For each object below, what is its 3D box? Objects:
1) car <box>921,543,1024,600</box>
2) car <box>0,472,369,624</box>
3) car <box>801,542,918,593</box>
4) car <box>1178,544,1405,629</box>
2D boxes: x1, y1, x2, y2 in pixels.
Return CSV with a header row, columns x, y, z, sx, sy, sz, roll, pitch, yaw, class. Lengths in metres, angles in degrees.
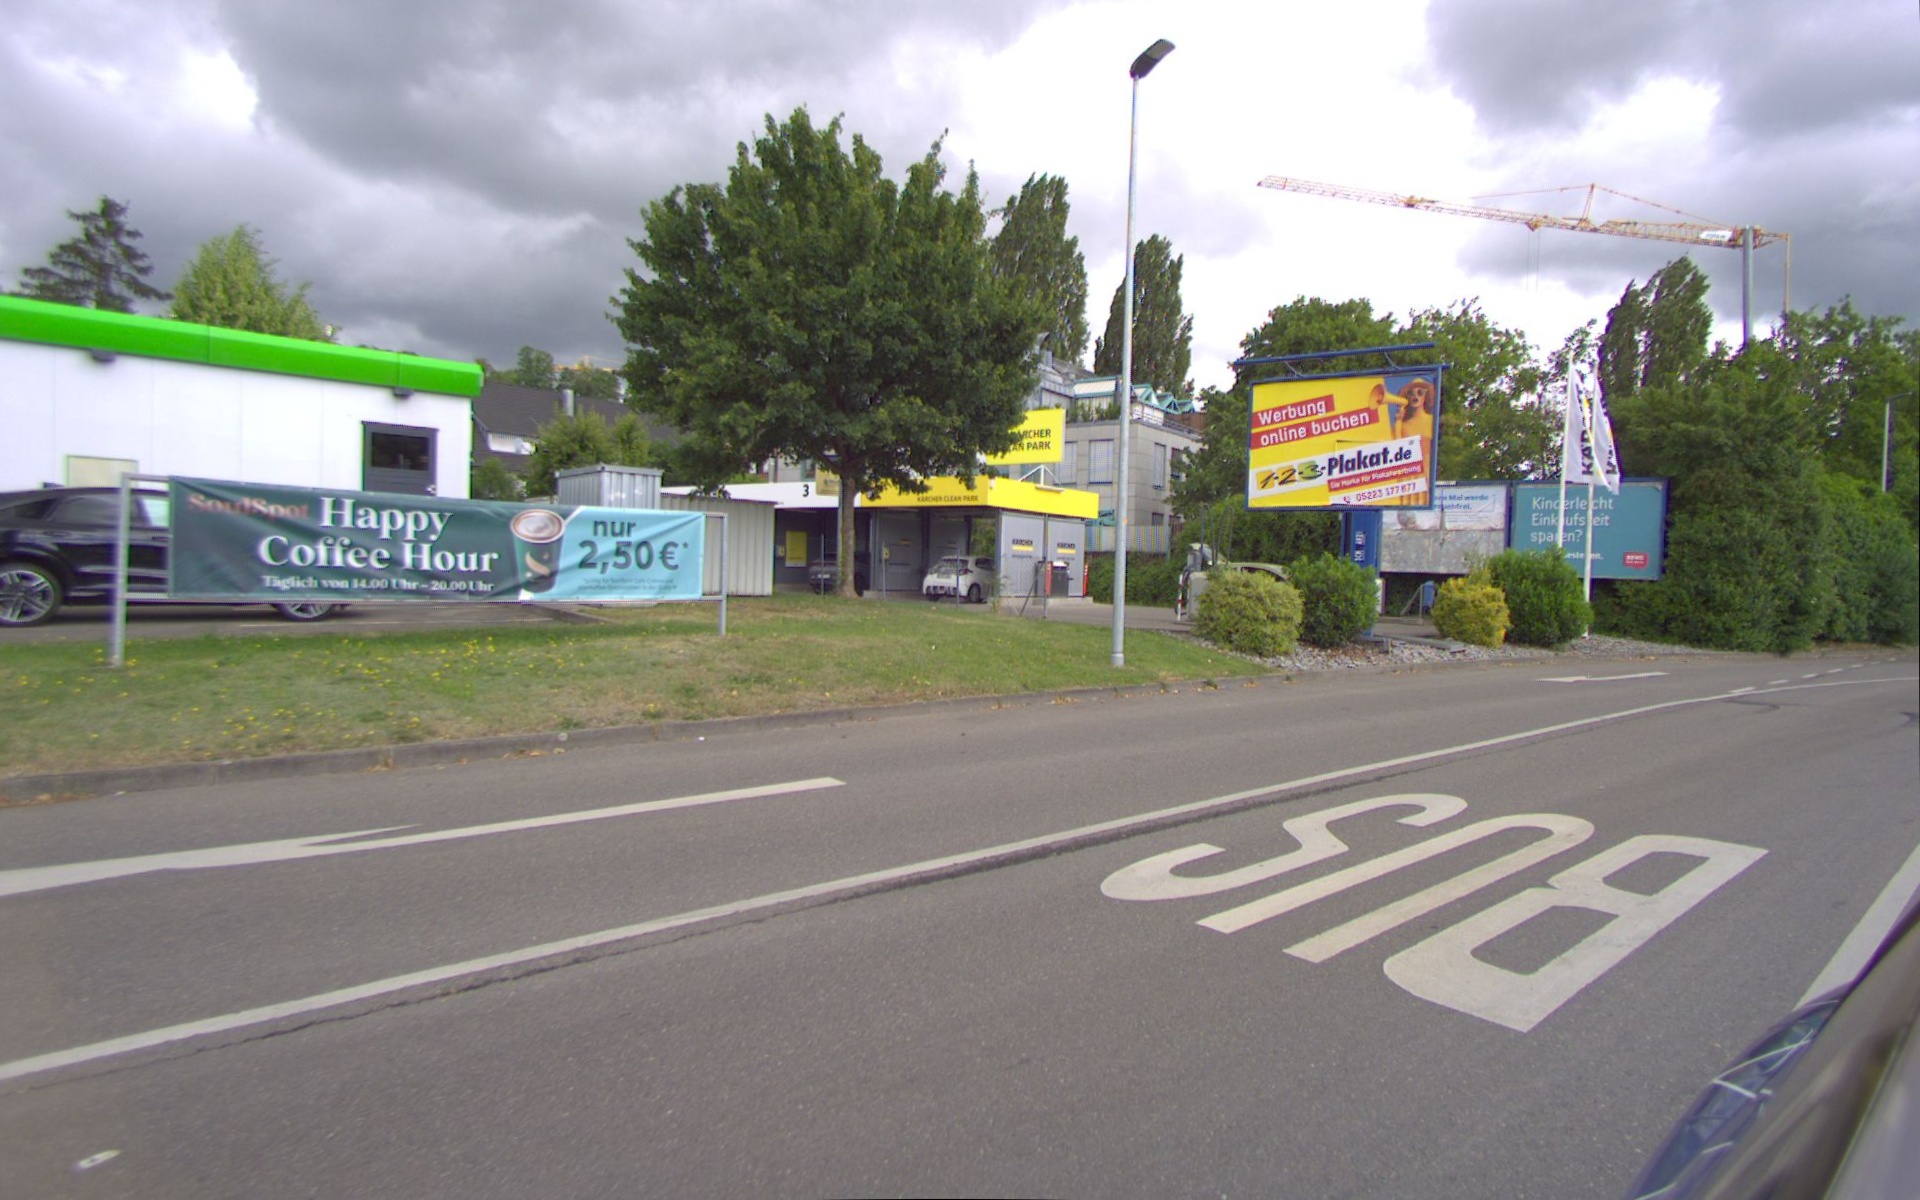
x,y,z,sx,sy,sz,roll,pitch,yaw,class
0.438,-0.896,31.828,1.620,1.660,3.490,3,2,32,car
-10.195,-0.664,12.984,4.262,1.694,1.825,-1,5,-41,car
-3.345,-1.096,34.325,1.828,1.593,3.880,3,2,36,car
7.459,-0.352,22.885,4.017,1.676,2.900,4,3,43,car
